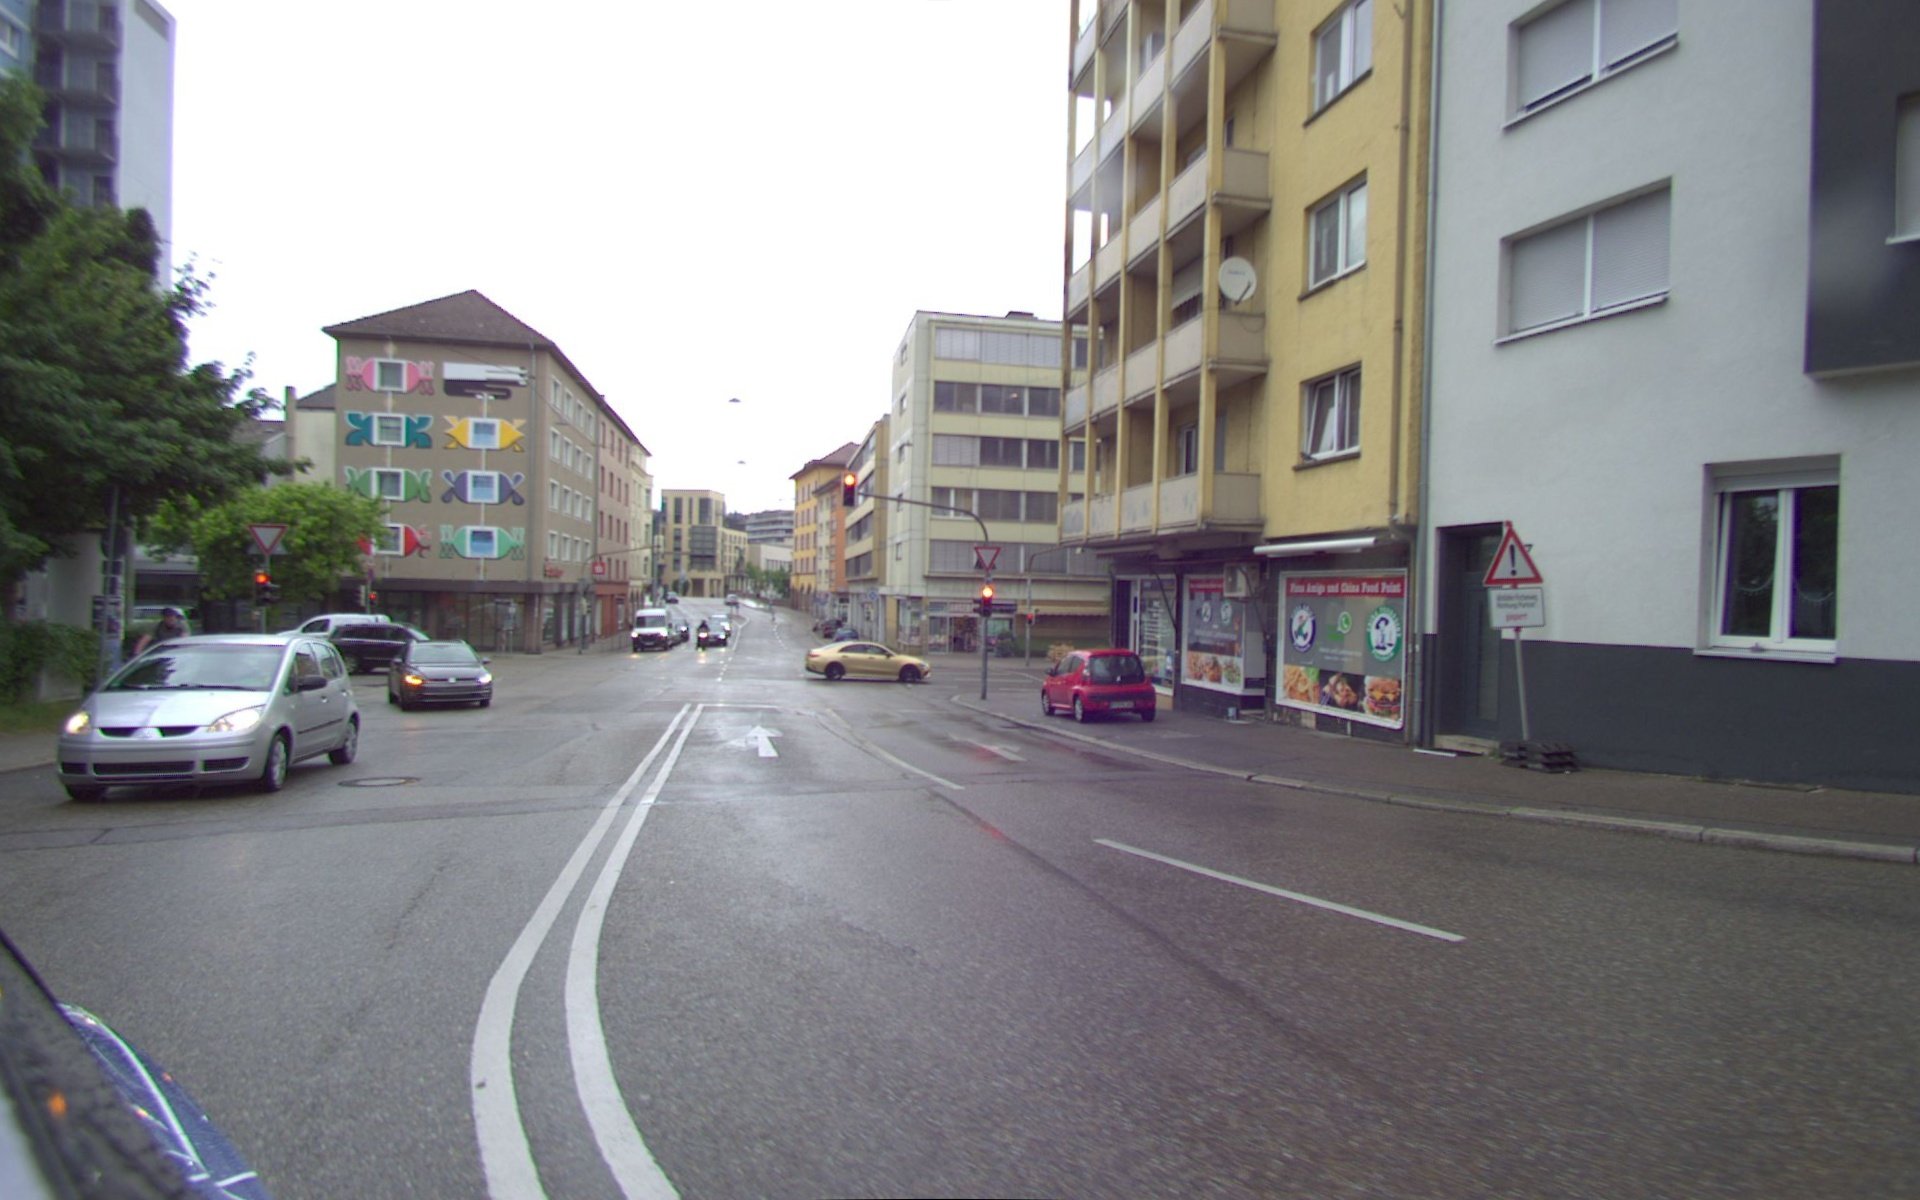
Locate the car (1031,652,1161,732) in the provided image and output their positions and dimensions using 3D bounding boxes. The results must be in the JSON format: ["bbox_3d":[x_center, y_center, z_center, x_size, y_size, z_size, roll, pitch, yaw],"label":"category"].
[{"bbox_3d":[2.781,1.865,21.418,1.588,1.475,3.542,-1,-2,-12],"label":"car"}]

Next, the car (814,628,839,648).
[{"bbox_3d":[-11.402,3.233,86.372,1.820,1.579,4.378,-1,-1,-10],"label":"car"}]

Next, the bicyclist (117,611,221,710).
[{"bbox_3d":[-12.609,0.964,16.169,0.874,1.501,0.970,3,-3,-10],"label":"bicyclist"}]

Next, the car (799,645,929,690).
[{"bbox_3d":[-3.533,2.434,36.874,4.506,1.452,1.996,2,-2,-11],"label":"car"}]

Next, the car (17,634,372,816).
[{"bbox_3d":[-7.619,1.174,10.565,1.659,1.516,3.849,0,-4,-16],"label":"car"}]

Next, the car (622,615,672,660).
[{"bbox_3d":[-18.557,2.217,60.311,2.196,2.543,5.482,-1,-1,-10],"label":"car"}]

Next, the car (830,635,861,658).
[{"bbox_3d":[-7.864,3.154,69.057,1.820,1.430,3.577,-1,-1,-10],"label":"car"}]

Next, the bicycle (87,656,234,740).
[{"bbox_3d":[-12.617,1.510,16.078,0.874,1.196,2.138,3,-3,-10],"label":"bicycle"}]

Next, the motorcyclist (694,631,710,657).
[{"bbox_3d":[-15.158,2.579,59.439,0.865,1.490,0.798,1,-2,-11],"label":"motorcyclist"}]

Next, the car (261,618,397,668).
[{"bbox_3d":[-25.537,1.739,41.086,4.163,1.869,1.995,2,-2,-8],"label":"car"}]

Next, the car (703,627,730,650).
[{"bbox_3d":[-19.044,3.013,79.199,1.820,1.728,3.577,-1,-1,-10],"label":"car"}]

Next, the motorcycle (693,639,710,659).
[{"bbox_3d":[-15.139,2.867,59.305,0.865,1.108,1.804,1,-2,-11],"label":"motorcycle"}]

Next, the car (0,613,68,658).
[{"bbox_3d":[-39.975,1.419,42.002,4.118,1.678,1.655,3,0,-11],"label":"car"}]

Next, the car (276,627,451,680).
[{"bbox_3d":[-19.433,1.746,33.182,4.505,1.591,1.996,2,-2,-13],"label":"car"}]

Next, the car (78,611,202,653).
[{"bbox_3d":[-38.092,1.464,47.110,4.118,1.678,1.655,3,0,-11],"label":"car"}]

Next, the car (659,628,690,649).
[{"bbox_3d":[-21.130,2.816,74.953,1.820,1.430,3.577,-1,-1,-10],"label":"car"}]

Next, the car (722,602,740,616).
[{"bbox_3d":[-32.499,1.279,143.443,1.818,1.721,4.384,1,1,-22],"label":"car"}]

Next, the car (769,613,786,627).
[{"bbox_3d":[-20.428,2.261,113.445,1.820,1.579,4.378,-1,-1,-10],"label":"car"}]

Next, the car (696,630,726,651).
[{"bbox_3d":[-17.694,2.875,72.127,1.820,1.430,3.577,-1,-1,-10],"label":"car"}]

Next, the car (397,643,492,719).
[{"bbox_3d":[-11.773,1.788,22.976,1.659,1.516,4.515,0,-3,-30],"label":"car"}]

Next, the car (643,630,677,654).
[{"bbox_3d":[-20.199,2.787,68.176,1.820,1.490,3.577,-1,-1,-10],"label":"car"}]

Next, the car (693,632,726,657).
[{"bbox_3d":[-15.933,2.813,64.481,1.820,1.430,3.577,-1,-1,-10],"label":"car"}]
